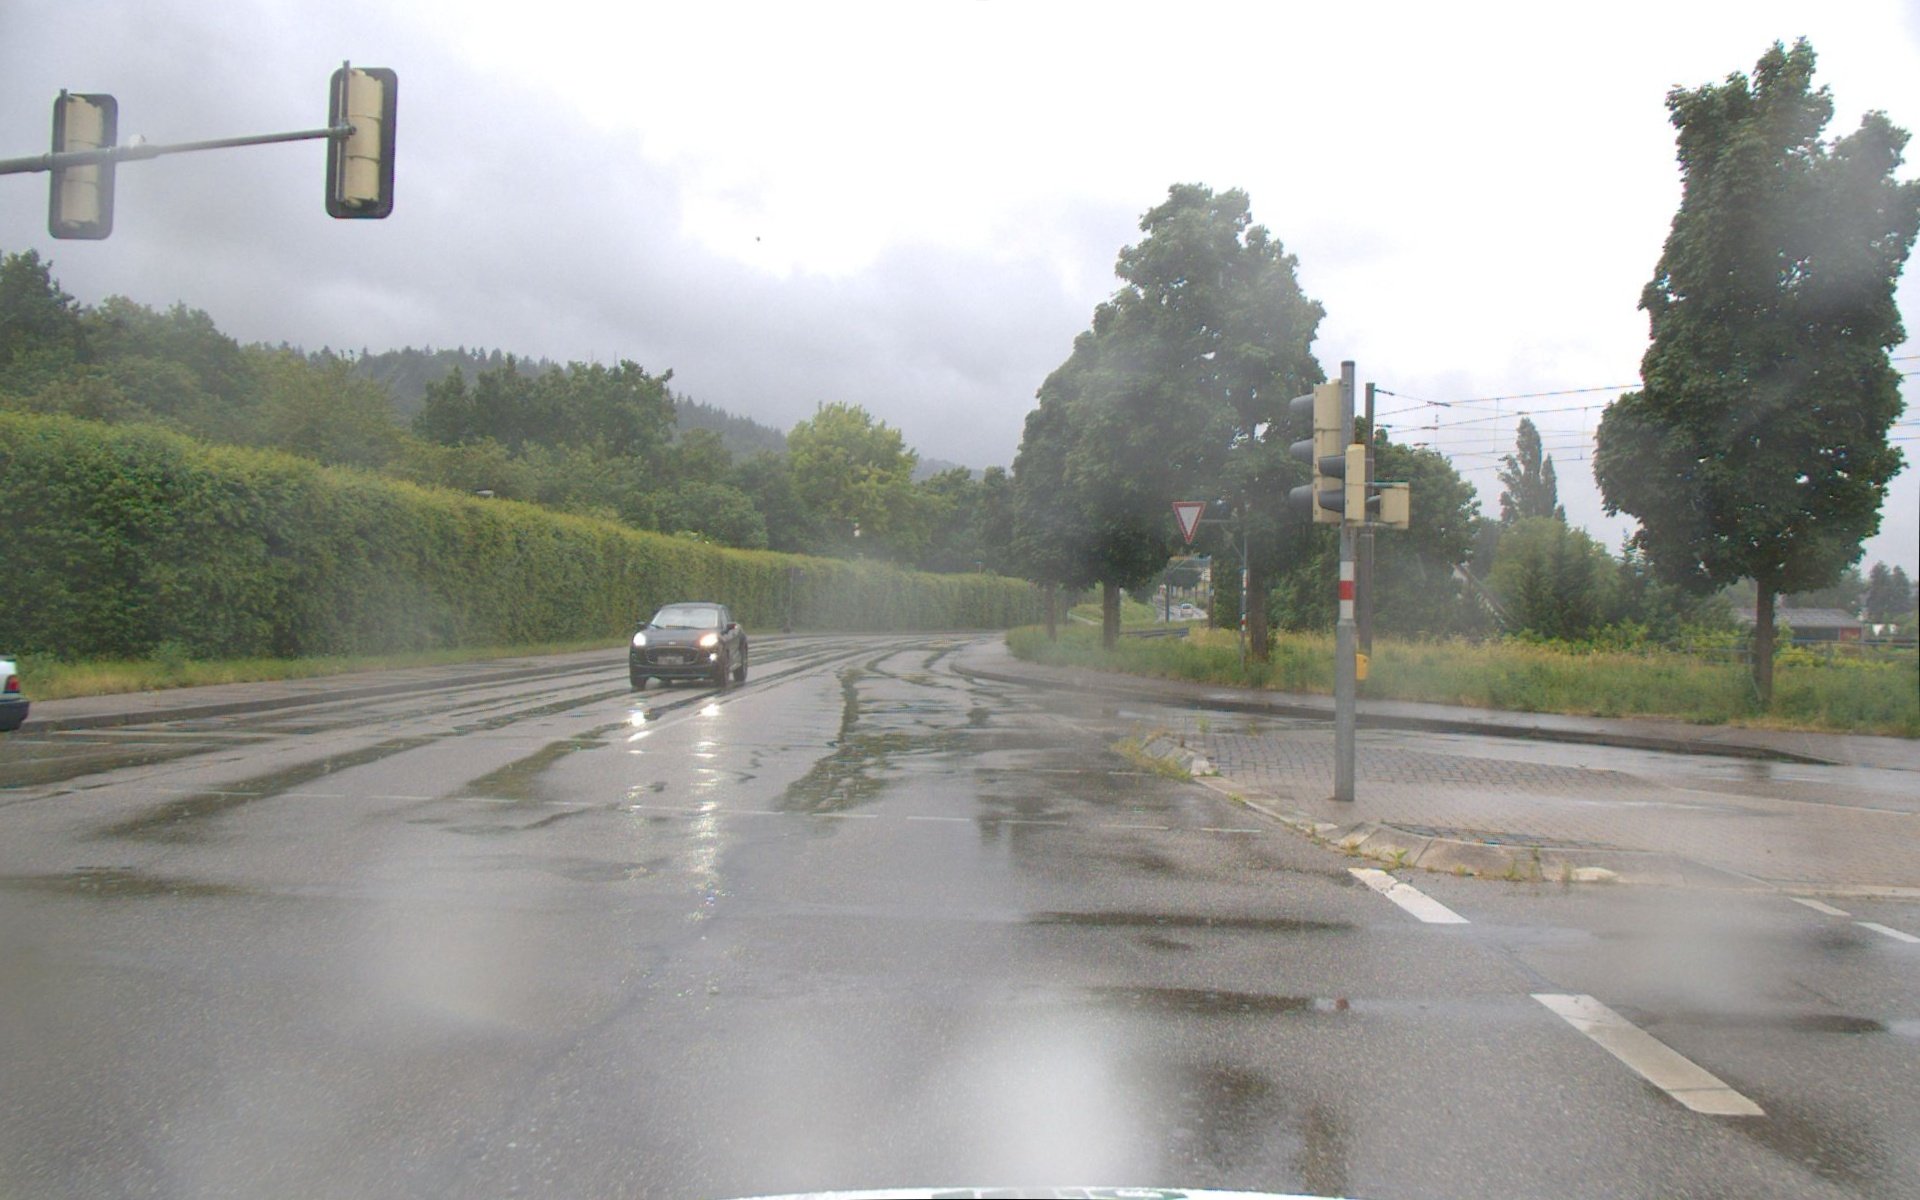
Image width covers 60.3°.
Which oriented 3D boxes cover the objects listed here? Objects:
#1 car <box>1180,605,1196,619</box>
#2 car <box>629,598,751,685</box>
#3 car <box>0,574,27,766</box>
[{"bbox_3d":[33.330,1.764,241.843,1.912,1.937,4.123,0,0,13],"label":"car"},{"bbox_3d":[-5.090,0.746,31.610,1.749,1.531,4.059,0,0,-2],"label":"car"},{"bbox_3d":[-10.407,0.619,13.883,1.998,1.738,4.060,1,1,28],"label":"car"}]
